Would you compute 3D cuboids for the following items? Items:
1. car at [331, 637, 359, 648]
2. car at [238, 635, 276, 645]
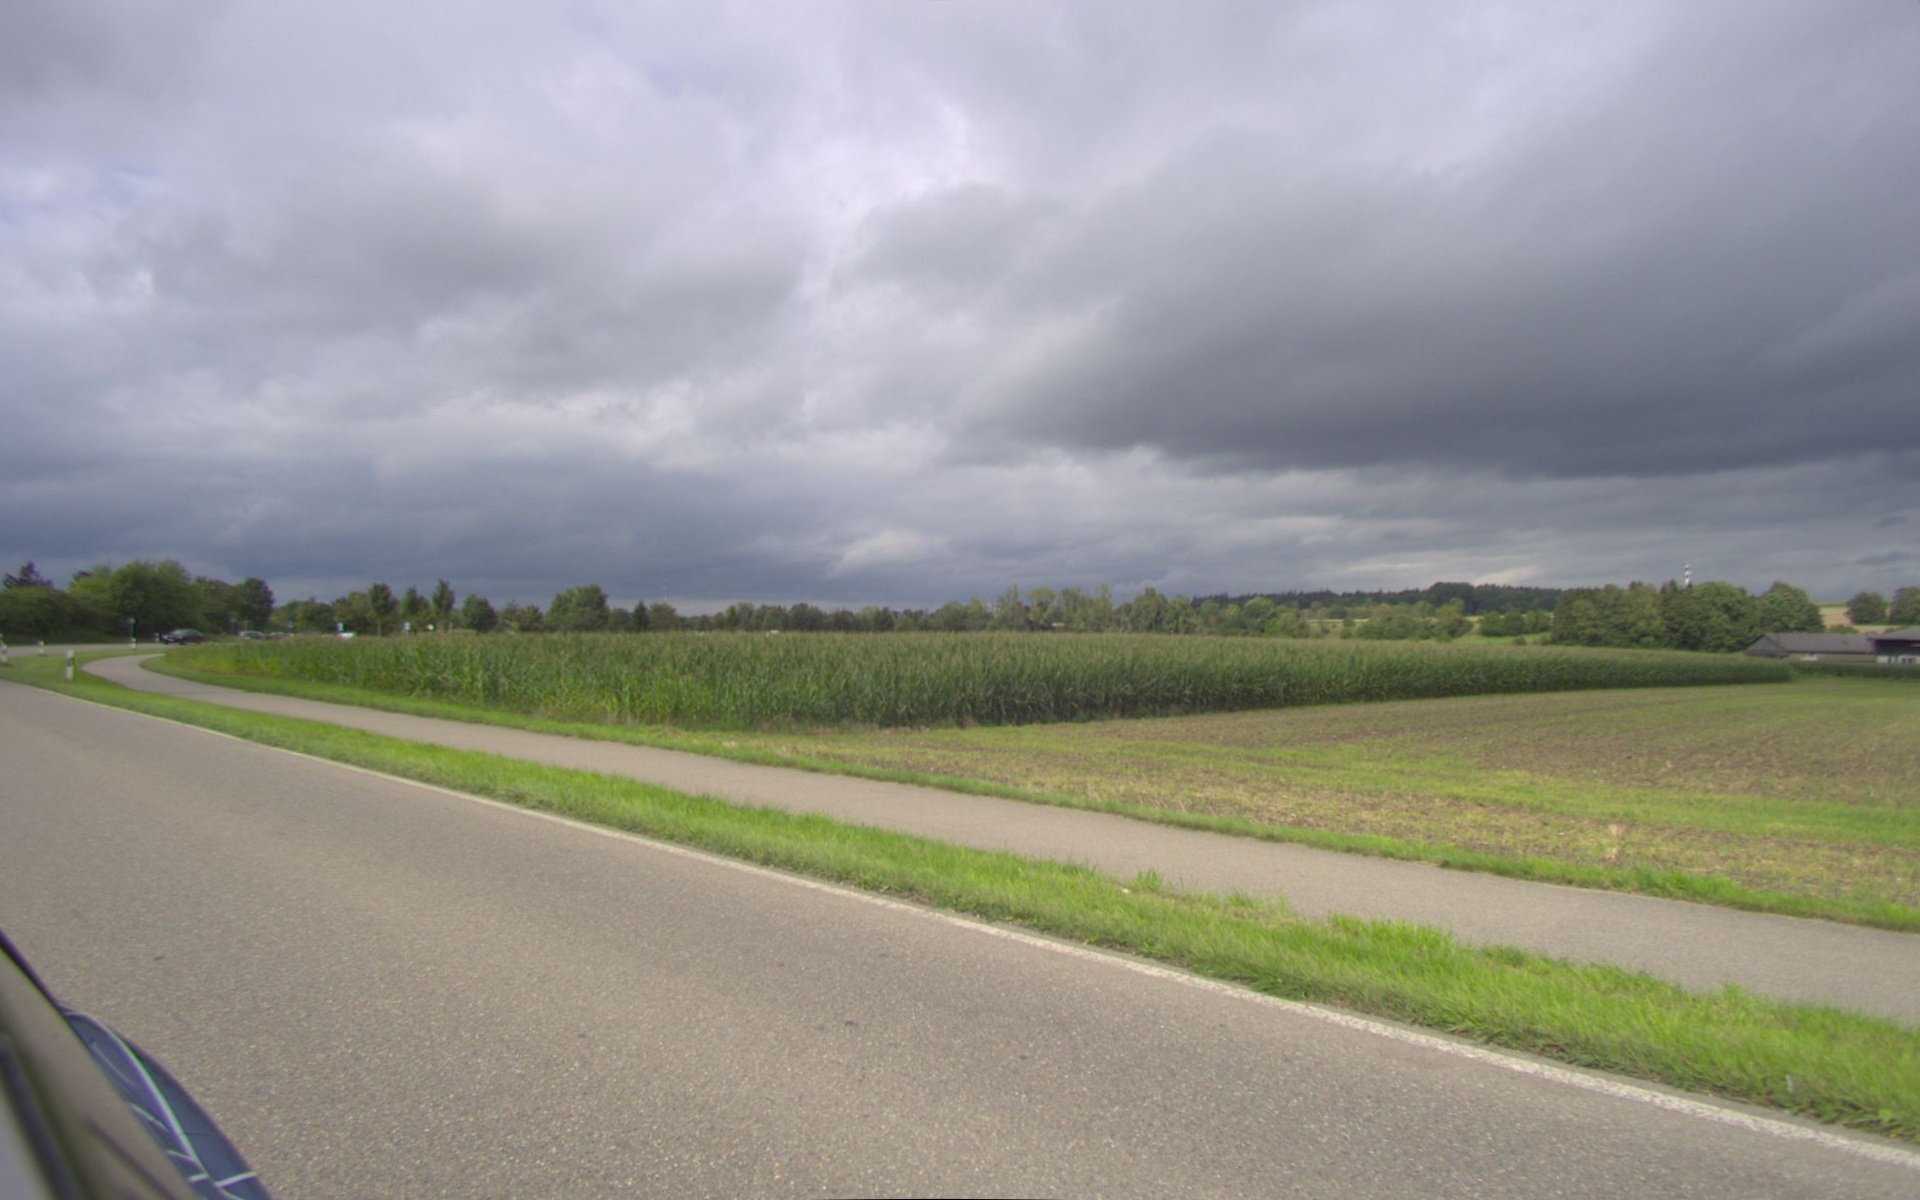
[{"bbox_3d":[-114.176,7.875,187.775,3.936,1.874,2.004,1,-3,-9],"label":"car"},{"bbox_3d":[-109.872,6.249,158.110,4.418,1.593,2.005,1,-3,-13],"label":"car"}]
